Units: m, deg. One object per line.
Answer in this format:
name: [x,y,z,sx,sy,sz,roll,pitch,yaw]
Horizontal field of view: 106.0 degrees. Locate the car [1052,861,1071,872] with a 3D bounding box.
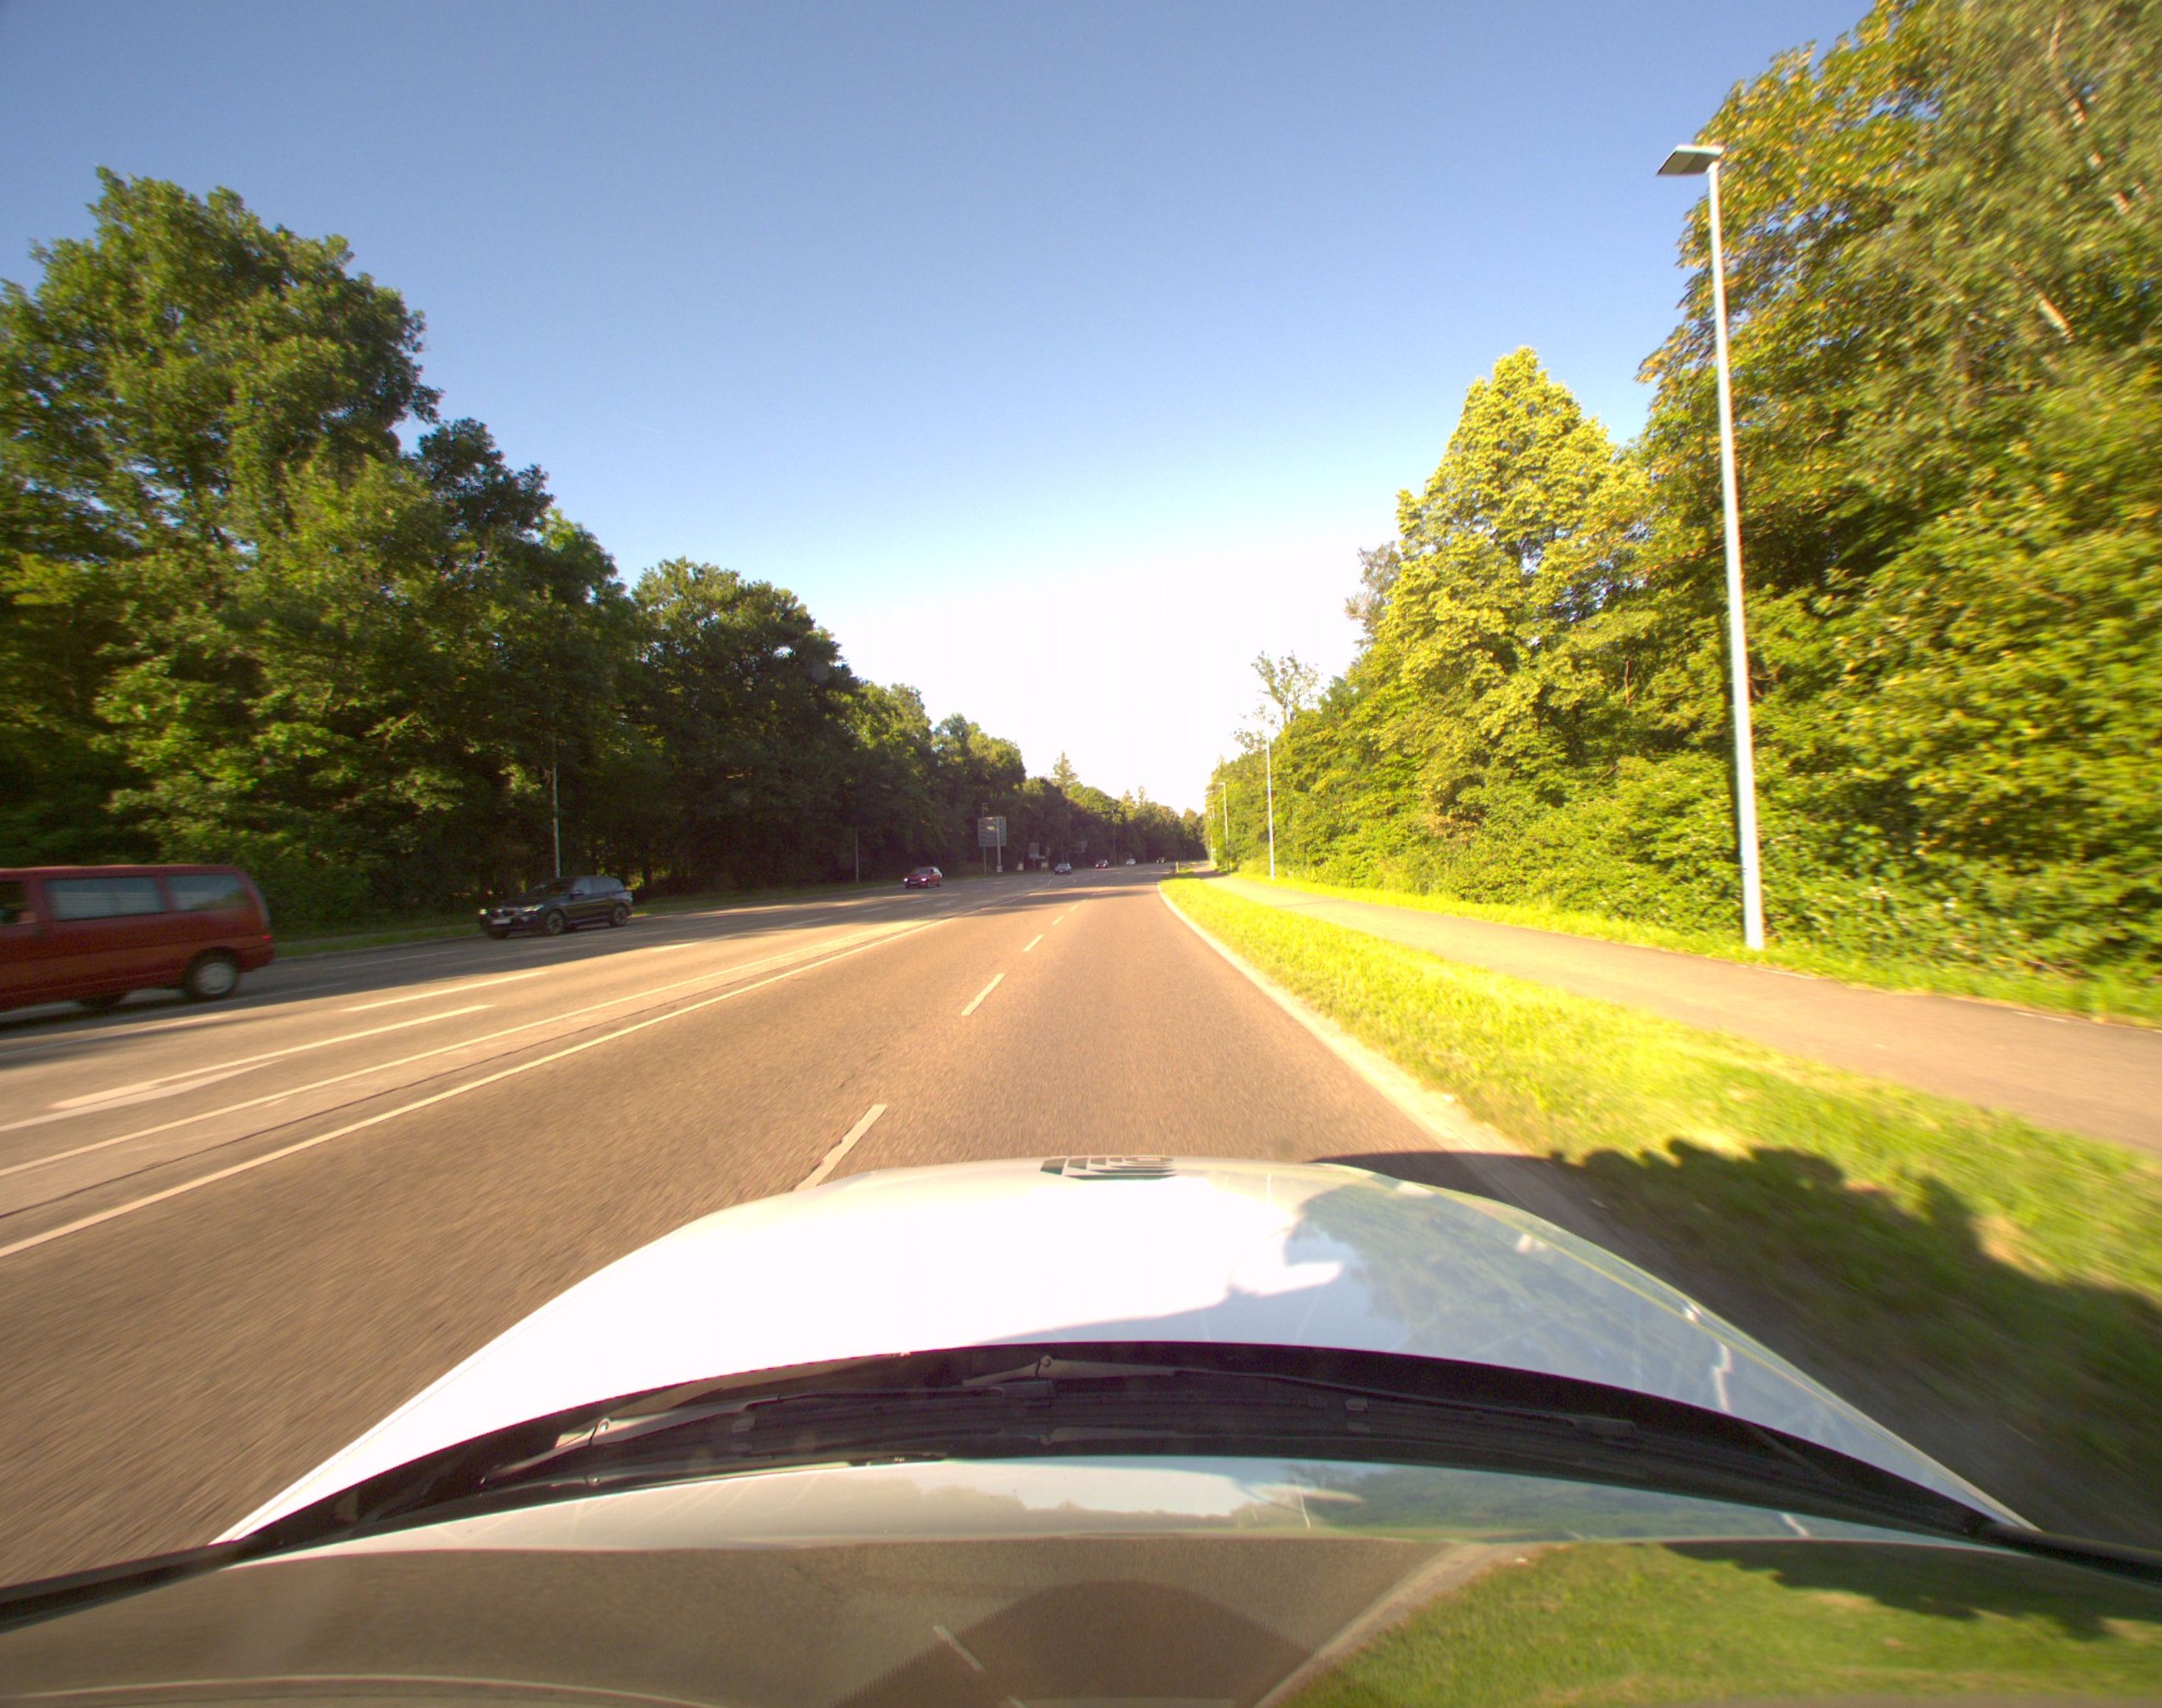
car: [-2.303,1.496,97.880,1.736,1.234,4.678,-3,0,4]

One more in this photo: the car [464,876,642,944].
car: [-15.497,1.568,24.306,1.986,1.637,4.845,-3,0,2]

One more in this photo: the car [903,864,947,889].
car: [-11.042,1.548,57.862,1.985,1.564,4.342,-3,0,4]

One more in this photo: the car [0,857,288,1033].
car: [-13.051,1.083,9.947,1.986,1.962,4.649,-4,-1,2]

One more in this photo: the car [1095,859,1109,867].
car: [3.867,1.652,150.914,1.813,1.545,4.269,-2,0,10]

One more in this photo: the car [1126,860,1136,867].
car: [11.693,2.161,191.130,1.814,1.504,4.317,-2,0,9]

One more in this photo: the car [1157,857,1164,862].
car: [23.869,1.695,243.775,1.814,1.589,4.362,-2,0,9]
